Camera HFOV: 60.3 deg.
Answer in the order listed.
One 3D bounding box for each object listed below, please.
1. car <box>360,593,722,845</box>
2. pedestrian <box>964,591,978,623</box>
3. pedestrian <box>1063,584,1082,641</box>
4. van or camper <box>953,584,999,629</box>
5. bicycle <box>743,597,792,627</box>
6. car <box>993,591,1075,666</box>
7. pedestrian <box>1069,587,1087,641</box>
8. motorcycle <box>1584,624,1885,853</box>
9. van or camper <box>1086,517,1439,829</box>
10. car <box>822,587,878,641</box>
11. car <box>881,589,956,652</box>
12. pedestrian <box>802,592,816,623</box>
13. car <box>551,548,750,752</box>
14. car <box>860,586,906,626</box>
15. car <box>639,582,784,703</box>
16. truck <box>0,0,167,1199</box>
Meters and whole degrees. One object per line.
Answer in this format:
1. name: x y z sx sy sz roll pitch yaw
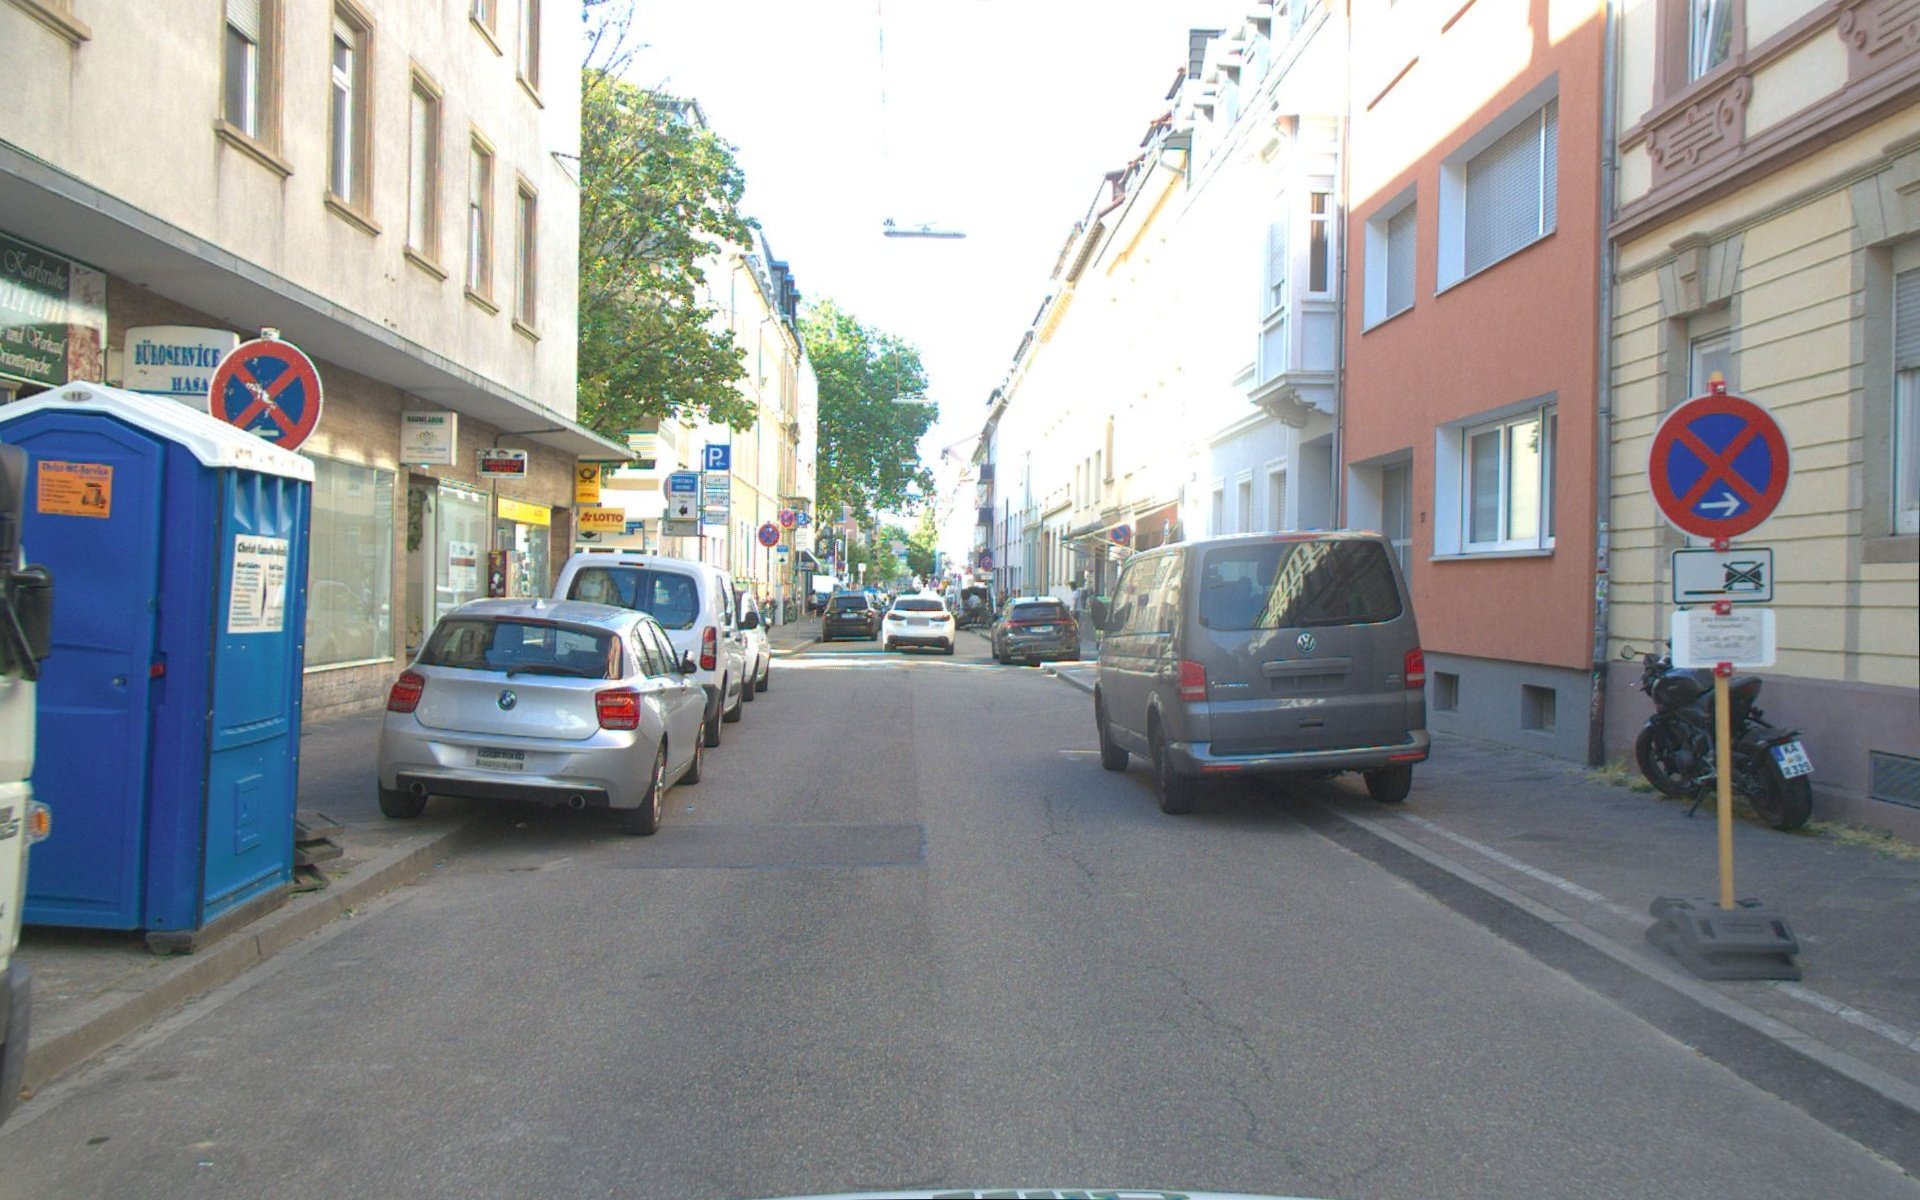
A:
1. car: -2.742 0.687 11.713 1.723 1.440 3.998 -1 0 -3
2. pedestrian: 0.520 0.316 76.996 0.614 1.490 0.575 1 -1 -2
3. pedestrian: 3.494 0.400 51.472 0.517 1.757 0.490 0 -1 13
4. van or camper: 0.703 0.333 75.620 1.953 1.959 3.998 1 -1 -2
5. bicycle: -7.698 0.491 66.153 1.933 1.134 0.505 2 0 -37
6. car: 1.657 0.614 37.977 1.614 1.604 3.678 1 0 -1
7. pedestrian: 3.830 0.459 53.617 0.517 1.757 0.490 0 -1 13
8. motorcycle: 4.880 0.799 10.691 0.584 1.207 2.760 -3 0 0
9. van or camper: 2.217 0.486 13.417 1.740 2.072 4.566 -1 0 -4
10. car: -3.501 0.431 52.929 1.592 1.625 3.579 2 0 -2
11. car: -1.049 0.500 42.592 1.797 1.512 4.056 1 0 -1
12. pedestrian: -7.122 0.359 77.990 0.614 1.490 0.575 1 -1 -2
13. car: -3.167 0.466 17.575 1.615 1.900 3.996 1 0 -4
14. car: -3.284 0.259 70.152 1.830 1.588 4.517 1 0 -4
15. car: -3.557 0.570 24.193 1.614 1.604 3.678 1 0 -1
16. truck: -2.563 0.092 0.544 2.115 2.635 6.240 2 -1 -6
